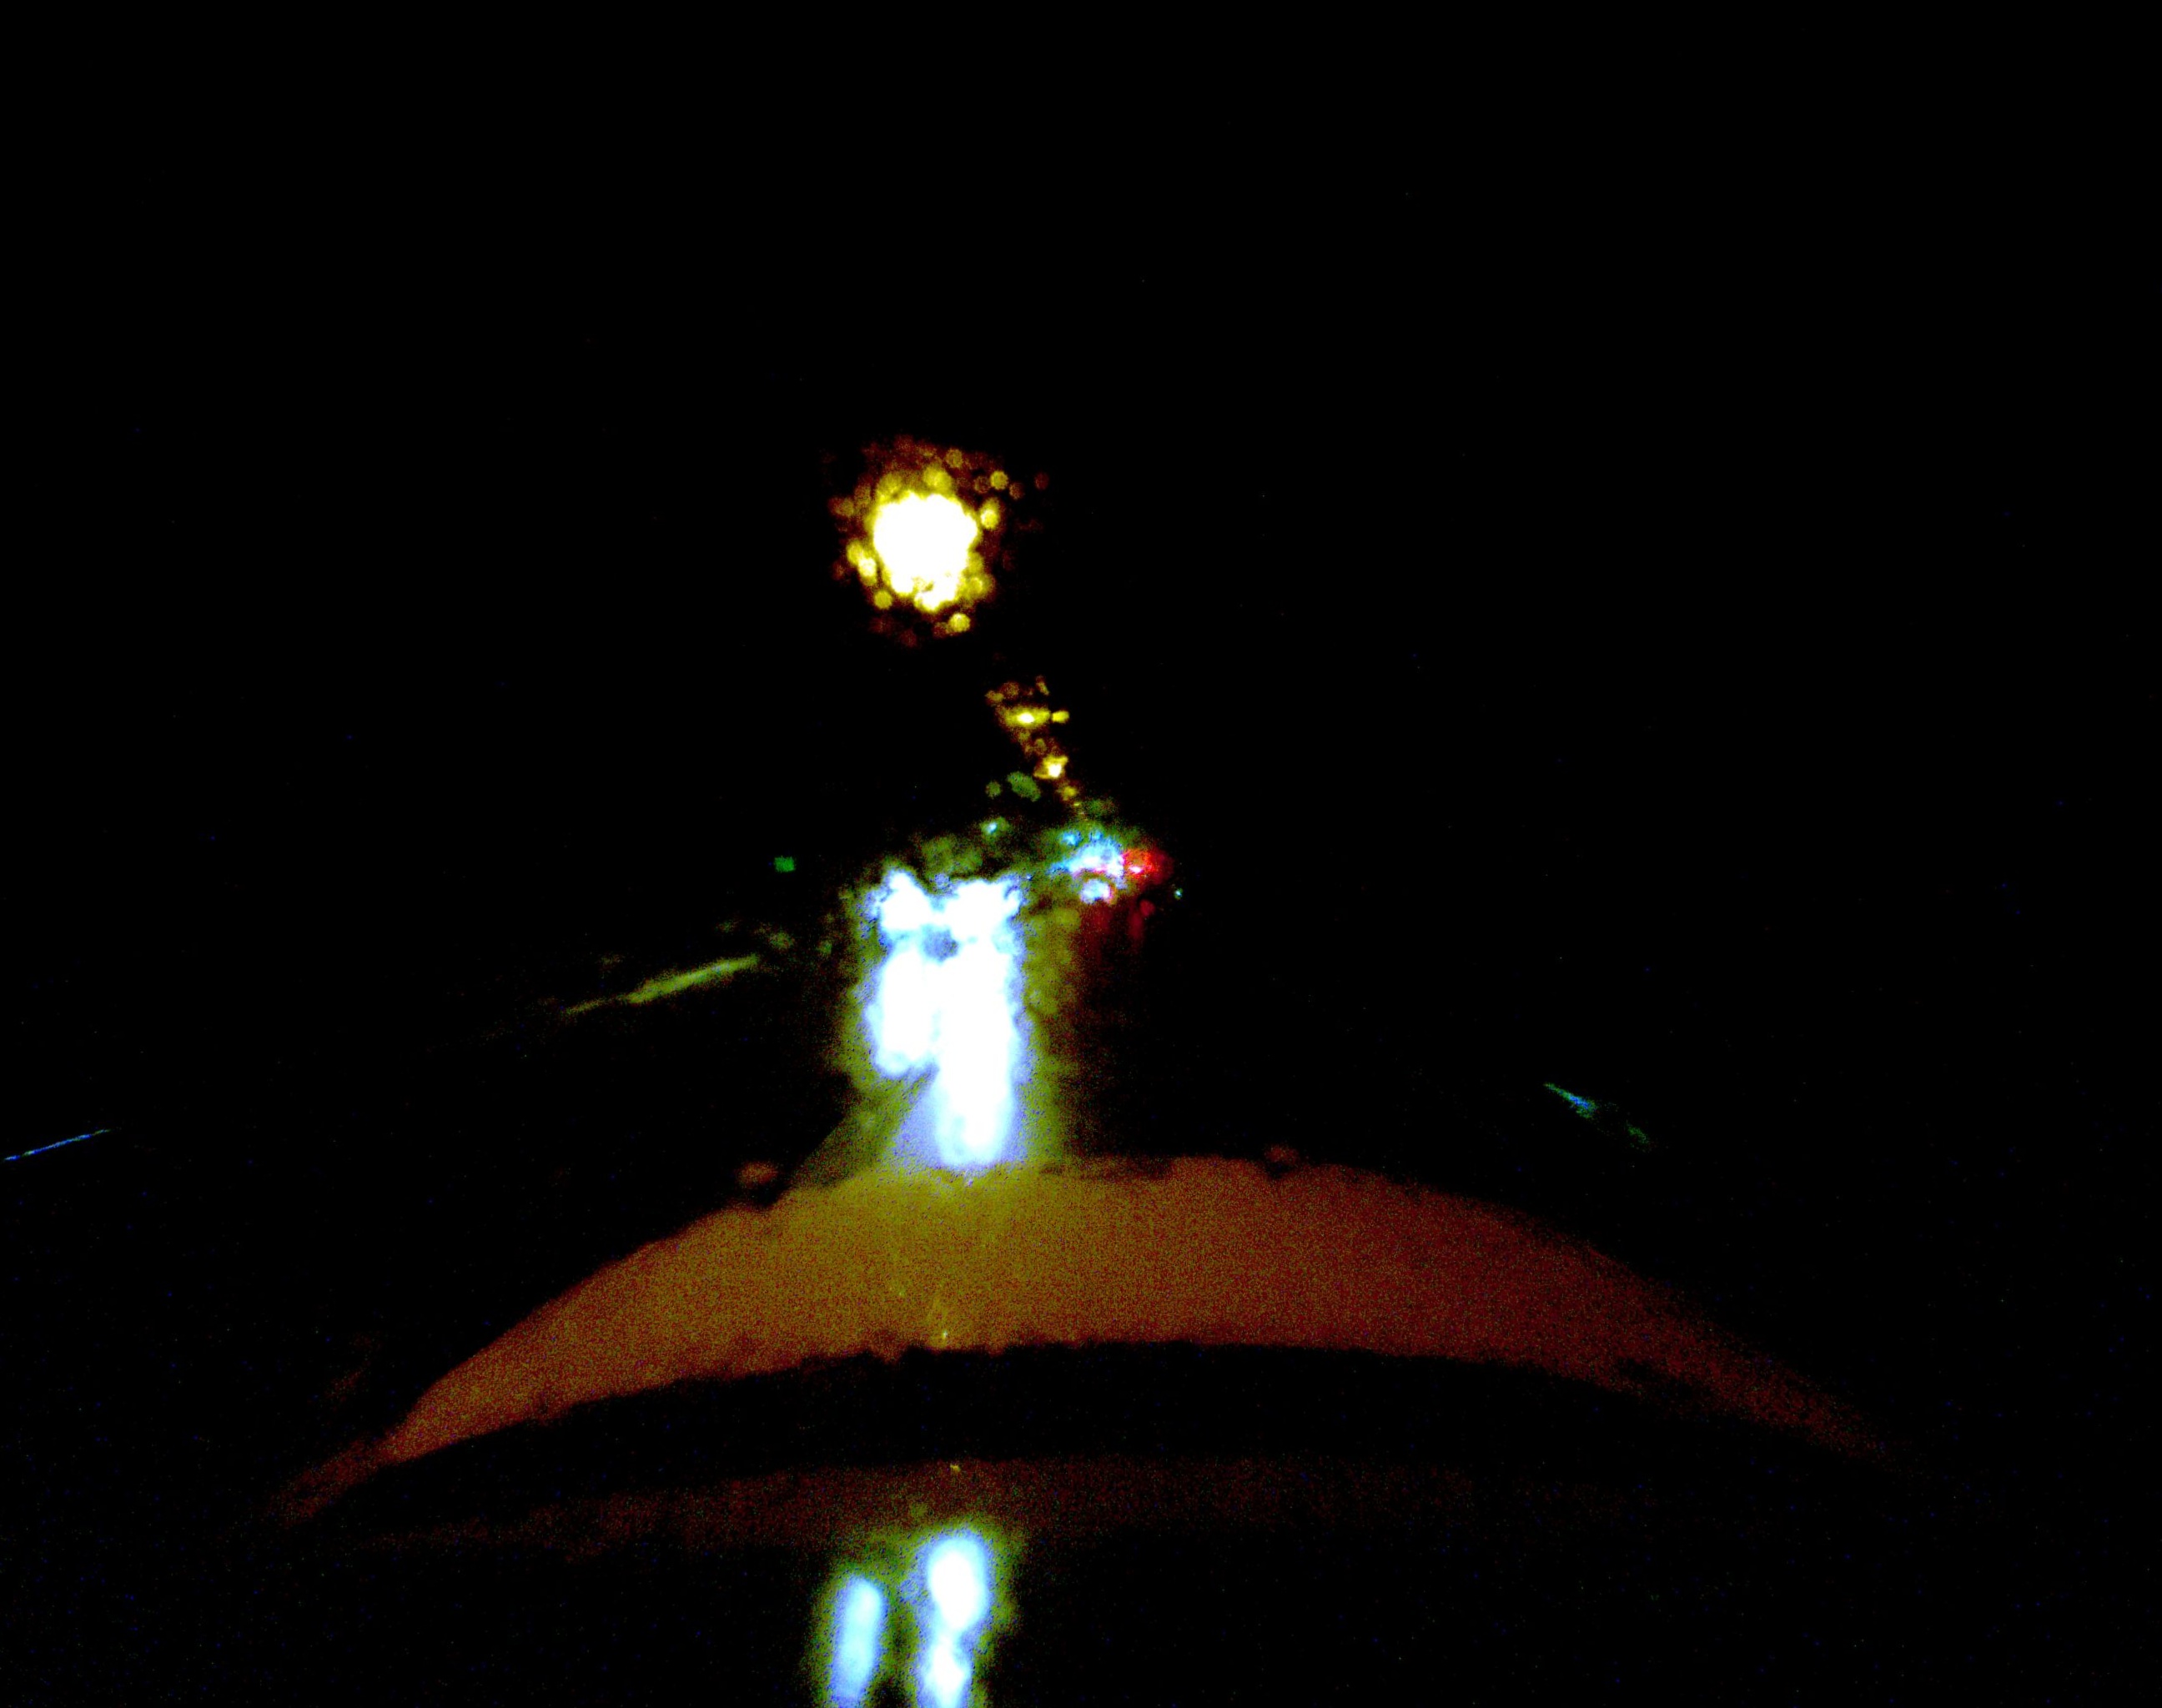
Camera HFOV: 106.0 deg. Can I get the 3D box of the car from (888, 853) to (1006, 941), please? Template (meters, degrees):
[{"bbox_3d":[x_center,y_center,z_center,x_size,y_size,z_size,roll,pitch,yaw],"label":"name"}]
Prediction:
[{"bbox_3d":[-2.633,0.792,16.796,1.629,1.535,3.648,-2,0,2],"label":"car"}]

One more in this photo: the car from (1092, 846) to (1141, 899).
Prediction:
[{"bbox_3d":[1.303,0.613,30.108,1.629,1.757,4.148,-2,0,2],"label":"car"}]
